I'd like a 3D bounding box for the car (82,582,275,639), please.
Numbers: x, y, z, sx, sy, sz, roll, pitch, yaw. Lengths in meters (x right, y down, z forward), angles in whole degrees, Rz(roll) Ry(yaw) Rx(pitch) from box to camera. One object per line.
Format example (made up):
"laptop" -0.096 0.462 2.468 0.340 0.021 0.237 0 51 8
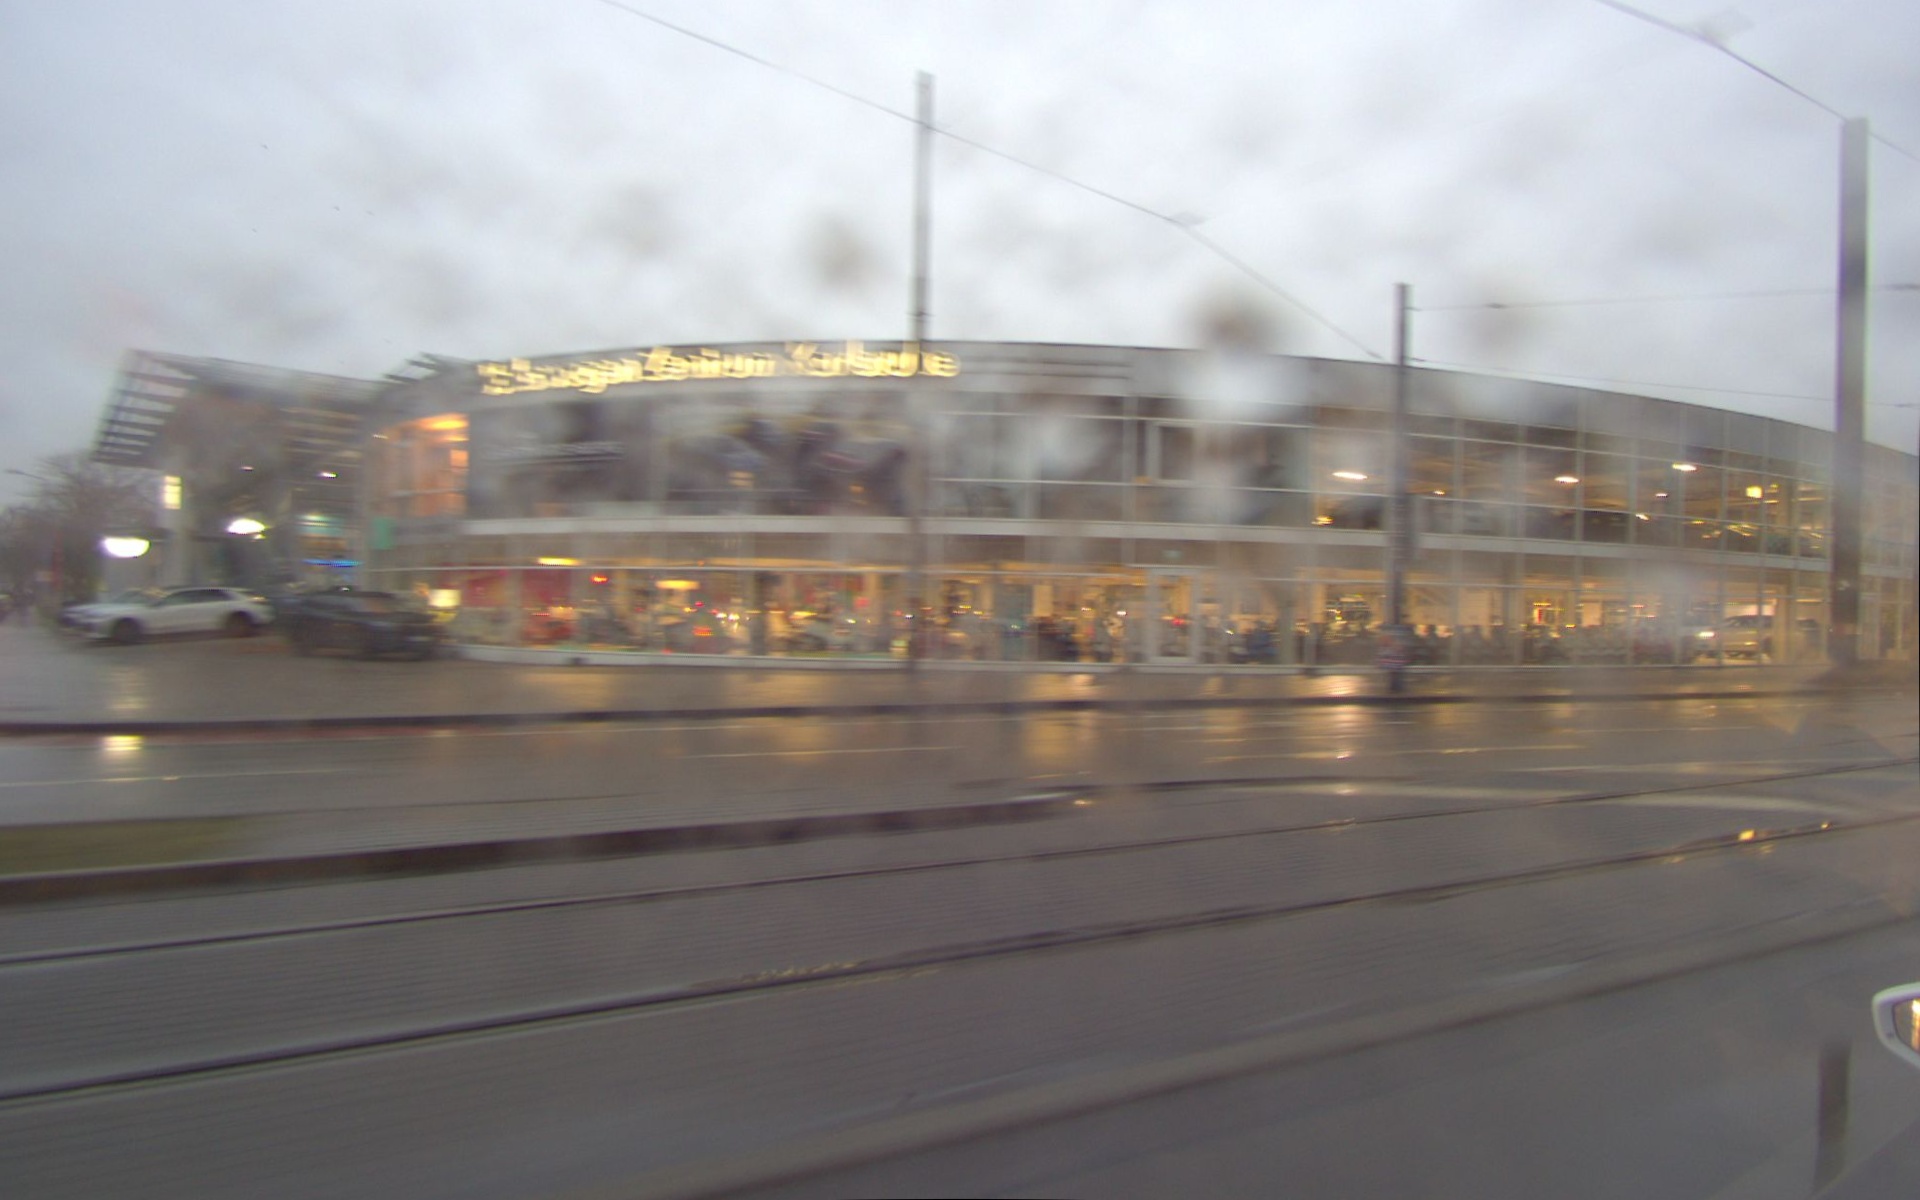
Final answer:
"car" -23.083 0.331 29.774 4.386 1.543 1.862 2 0 -41

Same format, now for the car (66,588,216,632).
"car" -31.633 0.403 38.896 4.386 1.543 1.862 2 0 -41

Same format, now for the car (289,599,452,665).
"car" -14.732 0.756 25.061 4.219 1.417 1.739 2 0 32

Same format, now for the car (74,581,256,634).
"car" -25.062 0.258 31.788 4.386 1.543 1.862 2 0 -41
